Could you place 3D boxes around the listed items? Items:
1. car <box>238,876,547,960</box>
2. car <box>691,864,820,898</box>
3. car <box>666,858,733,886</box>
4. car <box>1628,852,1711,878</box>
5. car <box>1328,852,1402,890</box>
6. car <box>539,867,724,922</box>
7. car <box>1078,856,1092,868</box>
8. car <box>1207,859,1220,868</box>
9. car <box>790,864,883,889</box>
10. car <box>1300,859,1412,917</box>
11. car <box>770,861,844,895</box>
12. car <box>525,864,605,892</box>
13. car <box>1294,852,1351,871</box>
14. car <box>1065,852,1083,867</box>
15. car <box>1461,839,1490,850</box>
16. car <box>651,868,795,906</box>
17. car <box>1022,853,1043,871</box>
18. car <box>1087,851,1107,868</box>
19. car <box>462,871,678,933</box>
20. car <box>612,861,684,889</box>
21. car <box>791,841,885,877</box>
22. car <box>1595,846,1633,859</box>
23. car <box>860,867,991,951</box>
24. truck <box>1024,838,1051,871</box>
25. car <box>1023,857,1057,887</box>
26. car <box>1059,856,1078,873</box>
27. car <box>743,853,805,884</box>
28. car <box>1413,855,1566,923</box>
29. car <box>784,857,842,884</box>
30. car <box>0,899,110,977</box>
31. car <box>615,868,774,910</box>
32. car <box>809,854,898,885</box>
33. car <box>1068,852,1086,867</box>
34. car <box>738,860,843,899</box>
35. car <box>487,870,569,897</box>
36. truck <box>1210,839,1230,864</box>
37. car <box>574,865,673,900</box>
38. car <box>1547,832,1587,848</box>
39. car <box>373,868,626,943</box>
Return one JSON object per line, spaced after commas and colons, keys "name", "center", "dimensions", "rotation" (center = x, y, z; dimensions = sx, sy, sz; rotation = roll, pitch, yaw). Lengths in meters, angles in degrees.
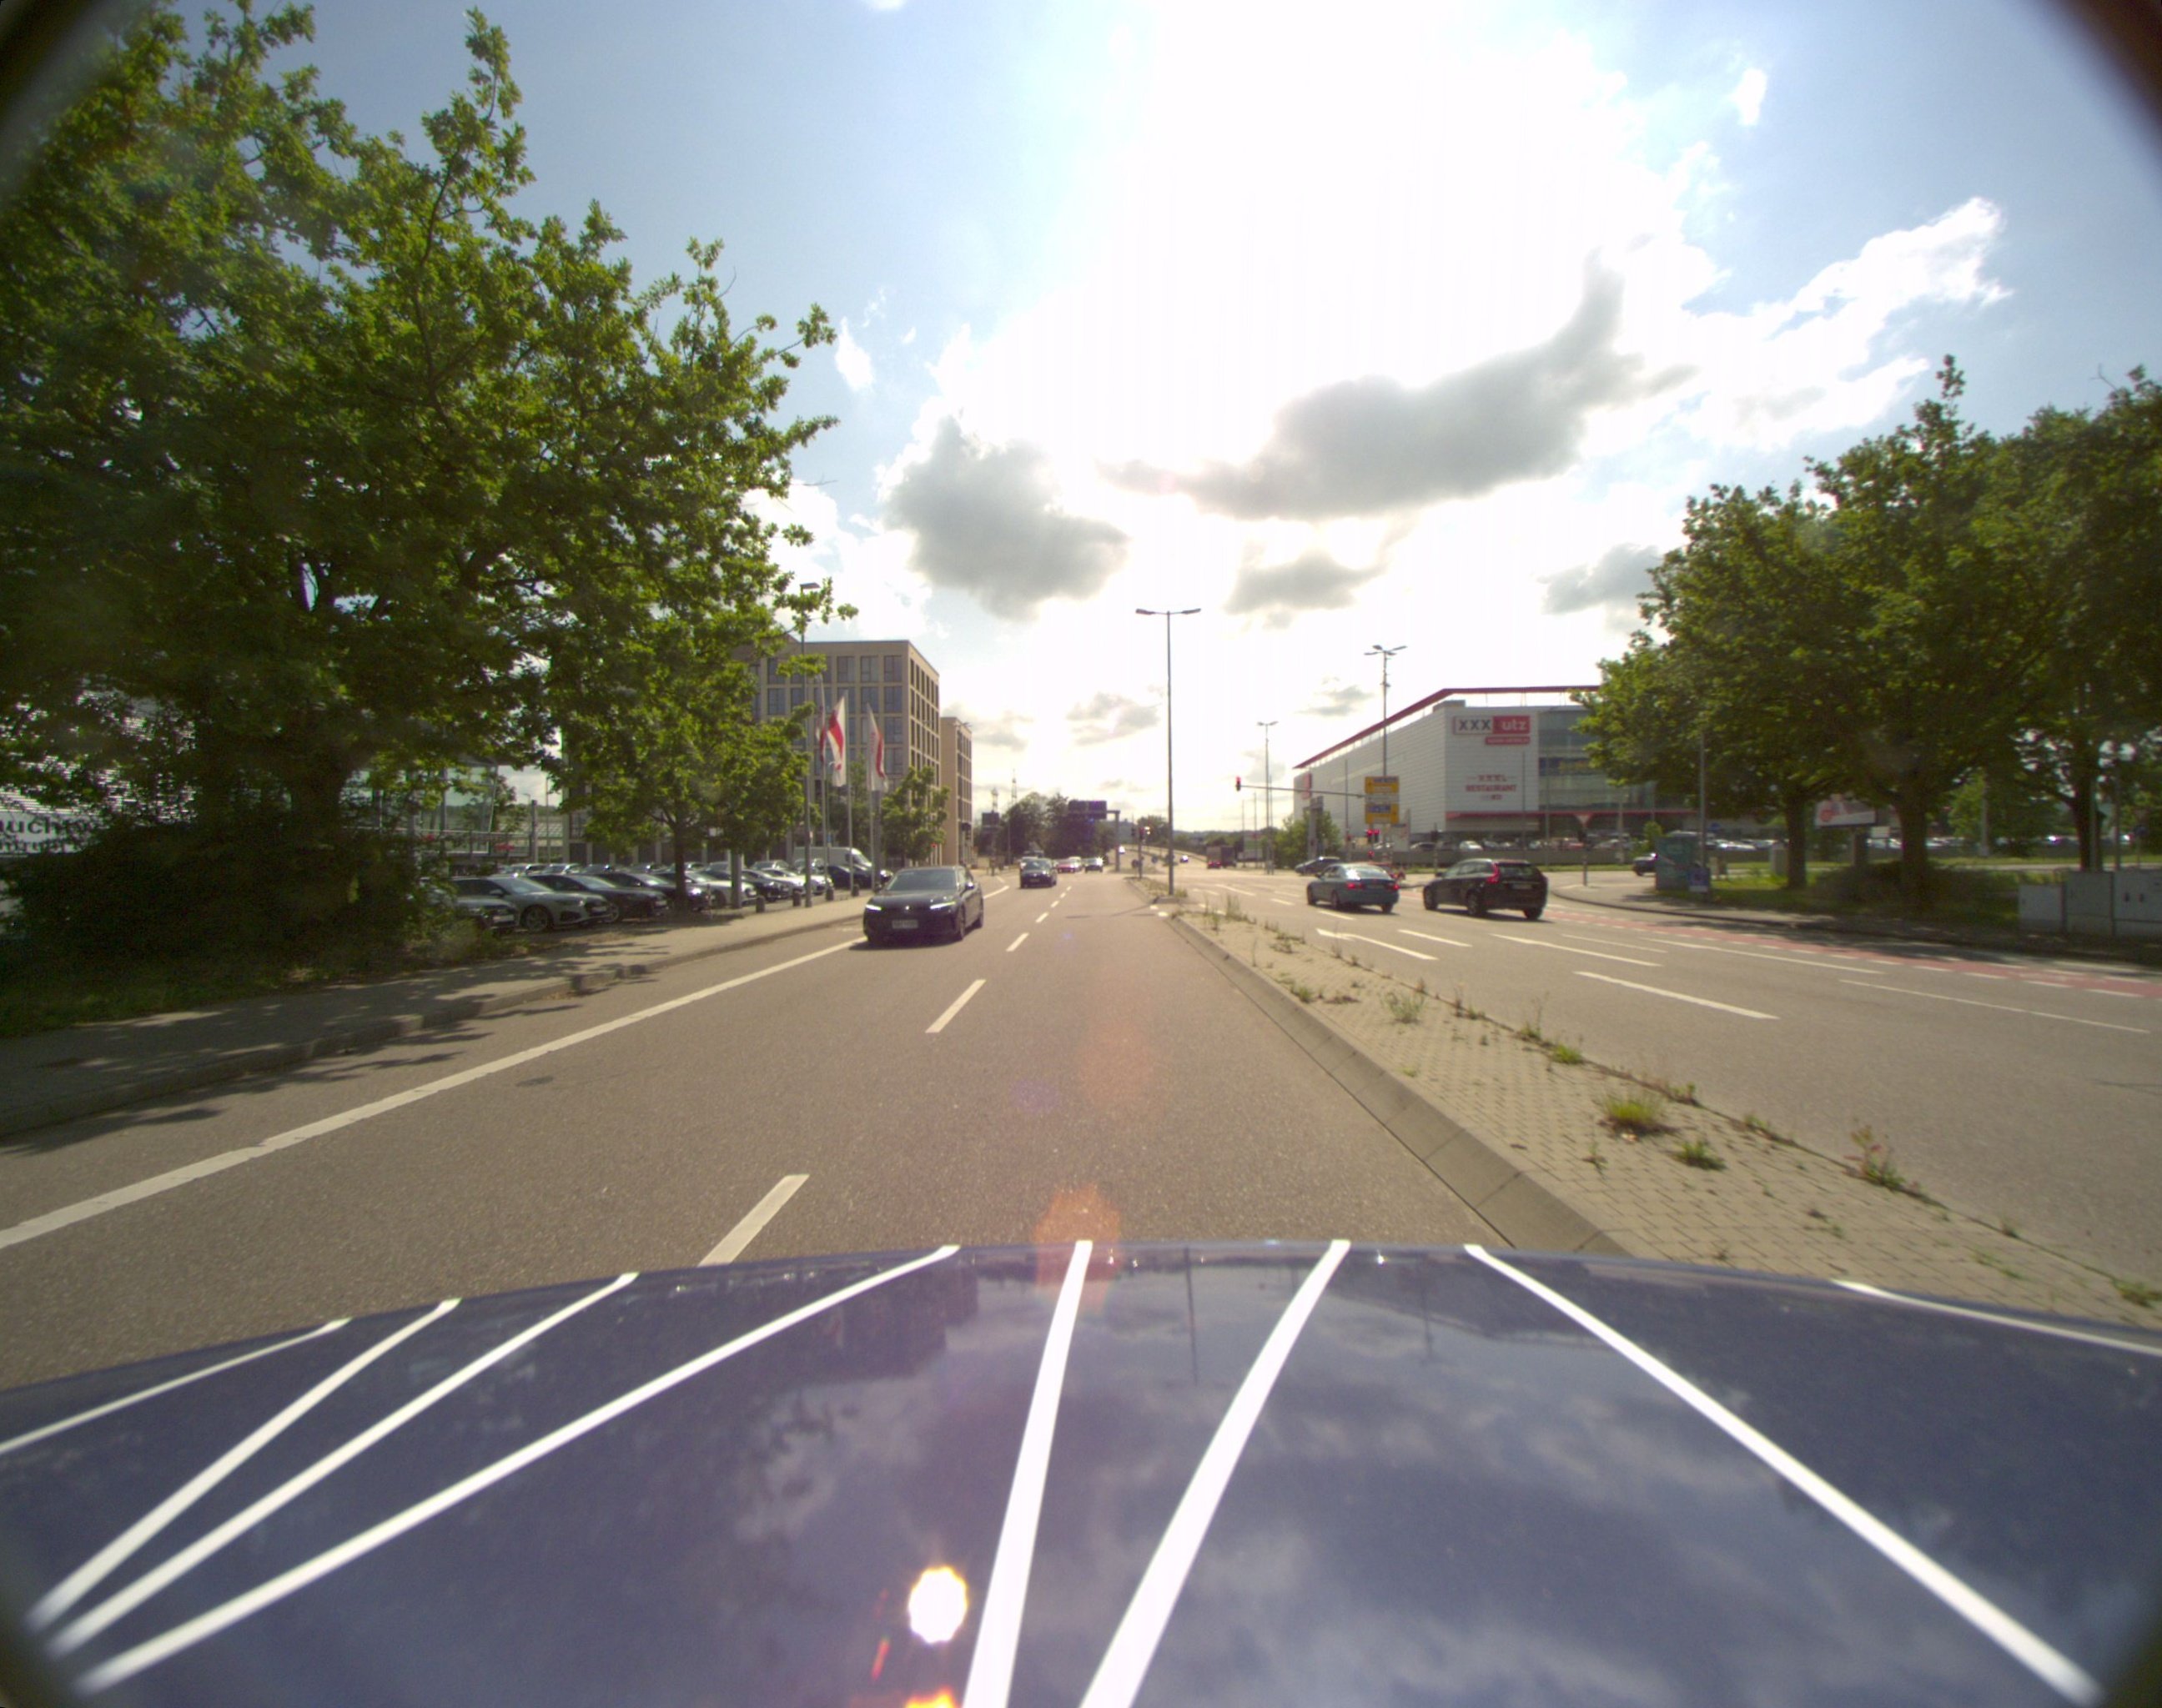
{"name": "car", "center": [-13.931, 1.263, 15.570], "dimensions": [4.586, 1.396, 1.908], "rotation": [-3, -1, 1]}
{"name": "car", "center": [-13.606, 1.118, 31.981], "dimensions": [4.586, 1.289, 1.908], "rotation": [-1, -1, 1]}
{"name": "car", "center": [-25.074, 1.196, 50.162], "dimensions": [1.905, 1.668, 4.592], "rotation": [-1, -1, 3]}
{"name": "car", "center": [37.885, 0.682, 48.919], "dimensions": [4.590, 1.546, 1.894], "rotation": [-1, 0, -17]}
{"name": "car", "center": [12.129, 0.675, 32.734], "dimensions": [1.690, 1.474, 4.125], "rotation": [2, 0, 1]}
{"name": "car", "center": [-13.960, 1.246, 23.773], "dimensions": [4.586, 1.289, 1.908], "rotation": [-5, -1, 1]}
{"name": "car", "center": [0.612, 1.297, 121.859], "dimensions": [1.826, 1.826, 4.448], "rotation": [-2, -1, 4]}
{"name": "car", "center": [21.095, 1.521, 120.933], "dimensions": [1.777, 1.469, 4.681], "rotation": [-1, -1, 6]}
{"name": "car", "center": [-13.701, 1.255, 42.691], "dimensions": [4.586, 1.289, 1.908], "rotation": [-1, -1, 1]}
{"name": "car", "center": [8.542, 0.995, 24.083], "dimensions": [1.777, 1.539, 4.820], "rotation": [2, 0, 0]}
{"name": "car", "center": [-13.834, 1.162, 38.672], "dimensions": [1.794, 1.455, 4.756], "rotation": [-4, 0, 3]}
{"name": "car", "center": [-33.669, 1.542, 49.767], "dimensions": [1.905, 1.668, 4.592], "rotation": [-1, -1, 3]}
{"name": "car", "center": [20.237, 0.642, 63.744], "dimensions": [4.264, 1.521, 1.608], "rotation": [0, 0, 5]}
{"name": "car", "center": [-0.841, 0.656, 90.607], "dimensions": [1.826, 1.617, 4.214], "rotation": [-1, -1, 3]}
{"name": "car", "center": [55.454, -1.297, 106.947], "dimensions": [1.953, 1.462, 4.424], "rotation": [-1, -1, 2]}
{"name": "car", "center": [-13.566, 1.252, 28.994], "dimensions": [4.586, 1.289, 1.908], "rotation": [-1, -1, 1]}
{"name": "car", "center": [-5.098, 0.887, 80.149], "dimensions": [1.999, 1.826, 4.993], "rotation": [-1, -1, -1]}
{"name": "car", "center": [1.655, 0.613, 79.309], "dimensions": [1.827, 1.617, 4.212], "rotation": [-1, -1, -1]}
{"name": "car", "center": [-13.908, 1.277, 20.867], "dimensions": [4.586, 1.375, 1.908], "rotation": [-3, -1, 1]}
{"name": "car", "center": [-28.336, 1.367, 49.873], "dimensions": [1.905, 1.668, 4.592], "rotation": [-1, -1, 3]}
{"name": "car", "center": [-19.371, 0.426, 60.761], "dimensions": [6.854, 2.591, 2.141], "rotation": [-2, -1, 8]}
{"name": "car", "center": [67.123, -0.155, 95.833], "dimensions": [1.953, 1.596, 4.425], "rotation": [-1, -1, 5]}
{"name": "car", "center": [-3.127, 1.046, 16.366], "dimensions": [1.813, 1.469, 5.204], "rotation": [-1, -1, -1]}
{"name": "truck", "center": [-4.906, 0.127, 87.719], "dimensions": [2.673, 3.533, 9.785], "rotation": [-1, -1, -1]}
{"name": "car", "center": [-2.174, 0.928, 40.943], "dimensions": [1.607, 1.521, 4.269], "rotation": [-1, -1, -1]}
{"name": "car", "center": [-1.300, 1.095, 78.719], "dimensions": [1.827, 1.617, 4.212], "rotation": [-1, -1, -1]}
{"name": "car", "center": [-20.098, 0.897, 49.996], "dimensions": [1.905, 1.669, 4.588], "rotation": [-1, 3, 3]}
{"name": "car", "center": [11.964, 0.934, 22.686], "dimensions": [1.933, 1.745, 4.820], "rotation": [2, 0, 0]}
{"name": "car", "center": [-17.416, 1.087, 49.649], "dimensions": [1.905, 1.668, 4.592], "rotation": [-1, -1, 3]}
{"name": "car", "center": [-24.504, 1.804, 16.523], "dimensions": [4.357, 1.490, 1.907], "rotation": [-1, 1, 1]}
{"name": "car", "center": [-13.481, 1.207, 26.670], "dimensions": [4.586, 1.289, 1.908], "rotation": [-1, -1, 1]}
{"name": "car", "center": [-13.337, 0.918, 44.720], "dimensions": [4.586, 1.668, 1.908], "rotation": [-1, -1, 1]}
{"name": "car", "center": [-0.474, 0.701, 97.246], "dimensions": [1.826, 1.826, 4.448], "rotation": [-2, -1, 4]}
{"name": "car", "center": [-13.193, 1.145, 34.682], "dimensions": [3.997, 1.455, 1.796], "rotation": [-4, 0, 1]}
{"name": "car", "center": [-36.412, 1.937, 50.201], "dimensions": [1.905, 1.668, 4.592], "rotation": [-1, -1, 3]}
{"name": "truck", "center": [24.114, -0.315, 132.017], "dimensions": [3.218, 4.002, 9.080], "rotation": [-2, -1, 11]}
{"name": "car", "center": [-23.323, 1.407, 38.989], "dimensions": [1.983, 1.502, 4.756], "rotation": [-4, 0, 3]}
{"name": "car", "center": [60.877, -1.747, 95.328], "dimensions": [1.916, 1.739, 4.187], "rotation": [-1, -1, -8]}
{"name": "car", "center": [-13.878, 1.207, 18.334], "dimensions": [4.586, 1.396, 1.908], "rotation": [-4, -1, 1]}
